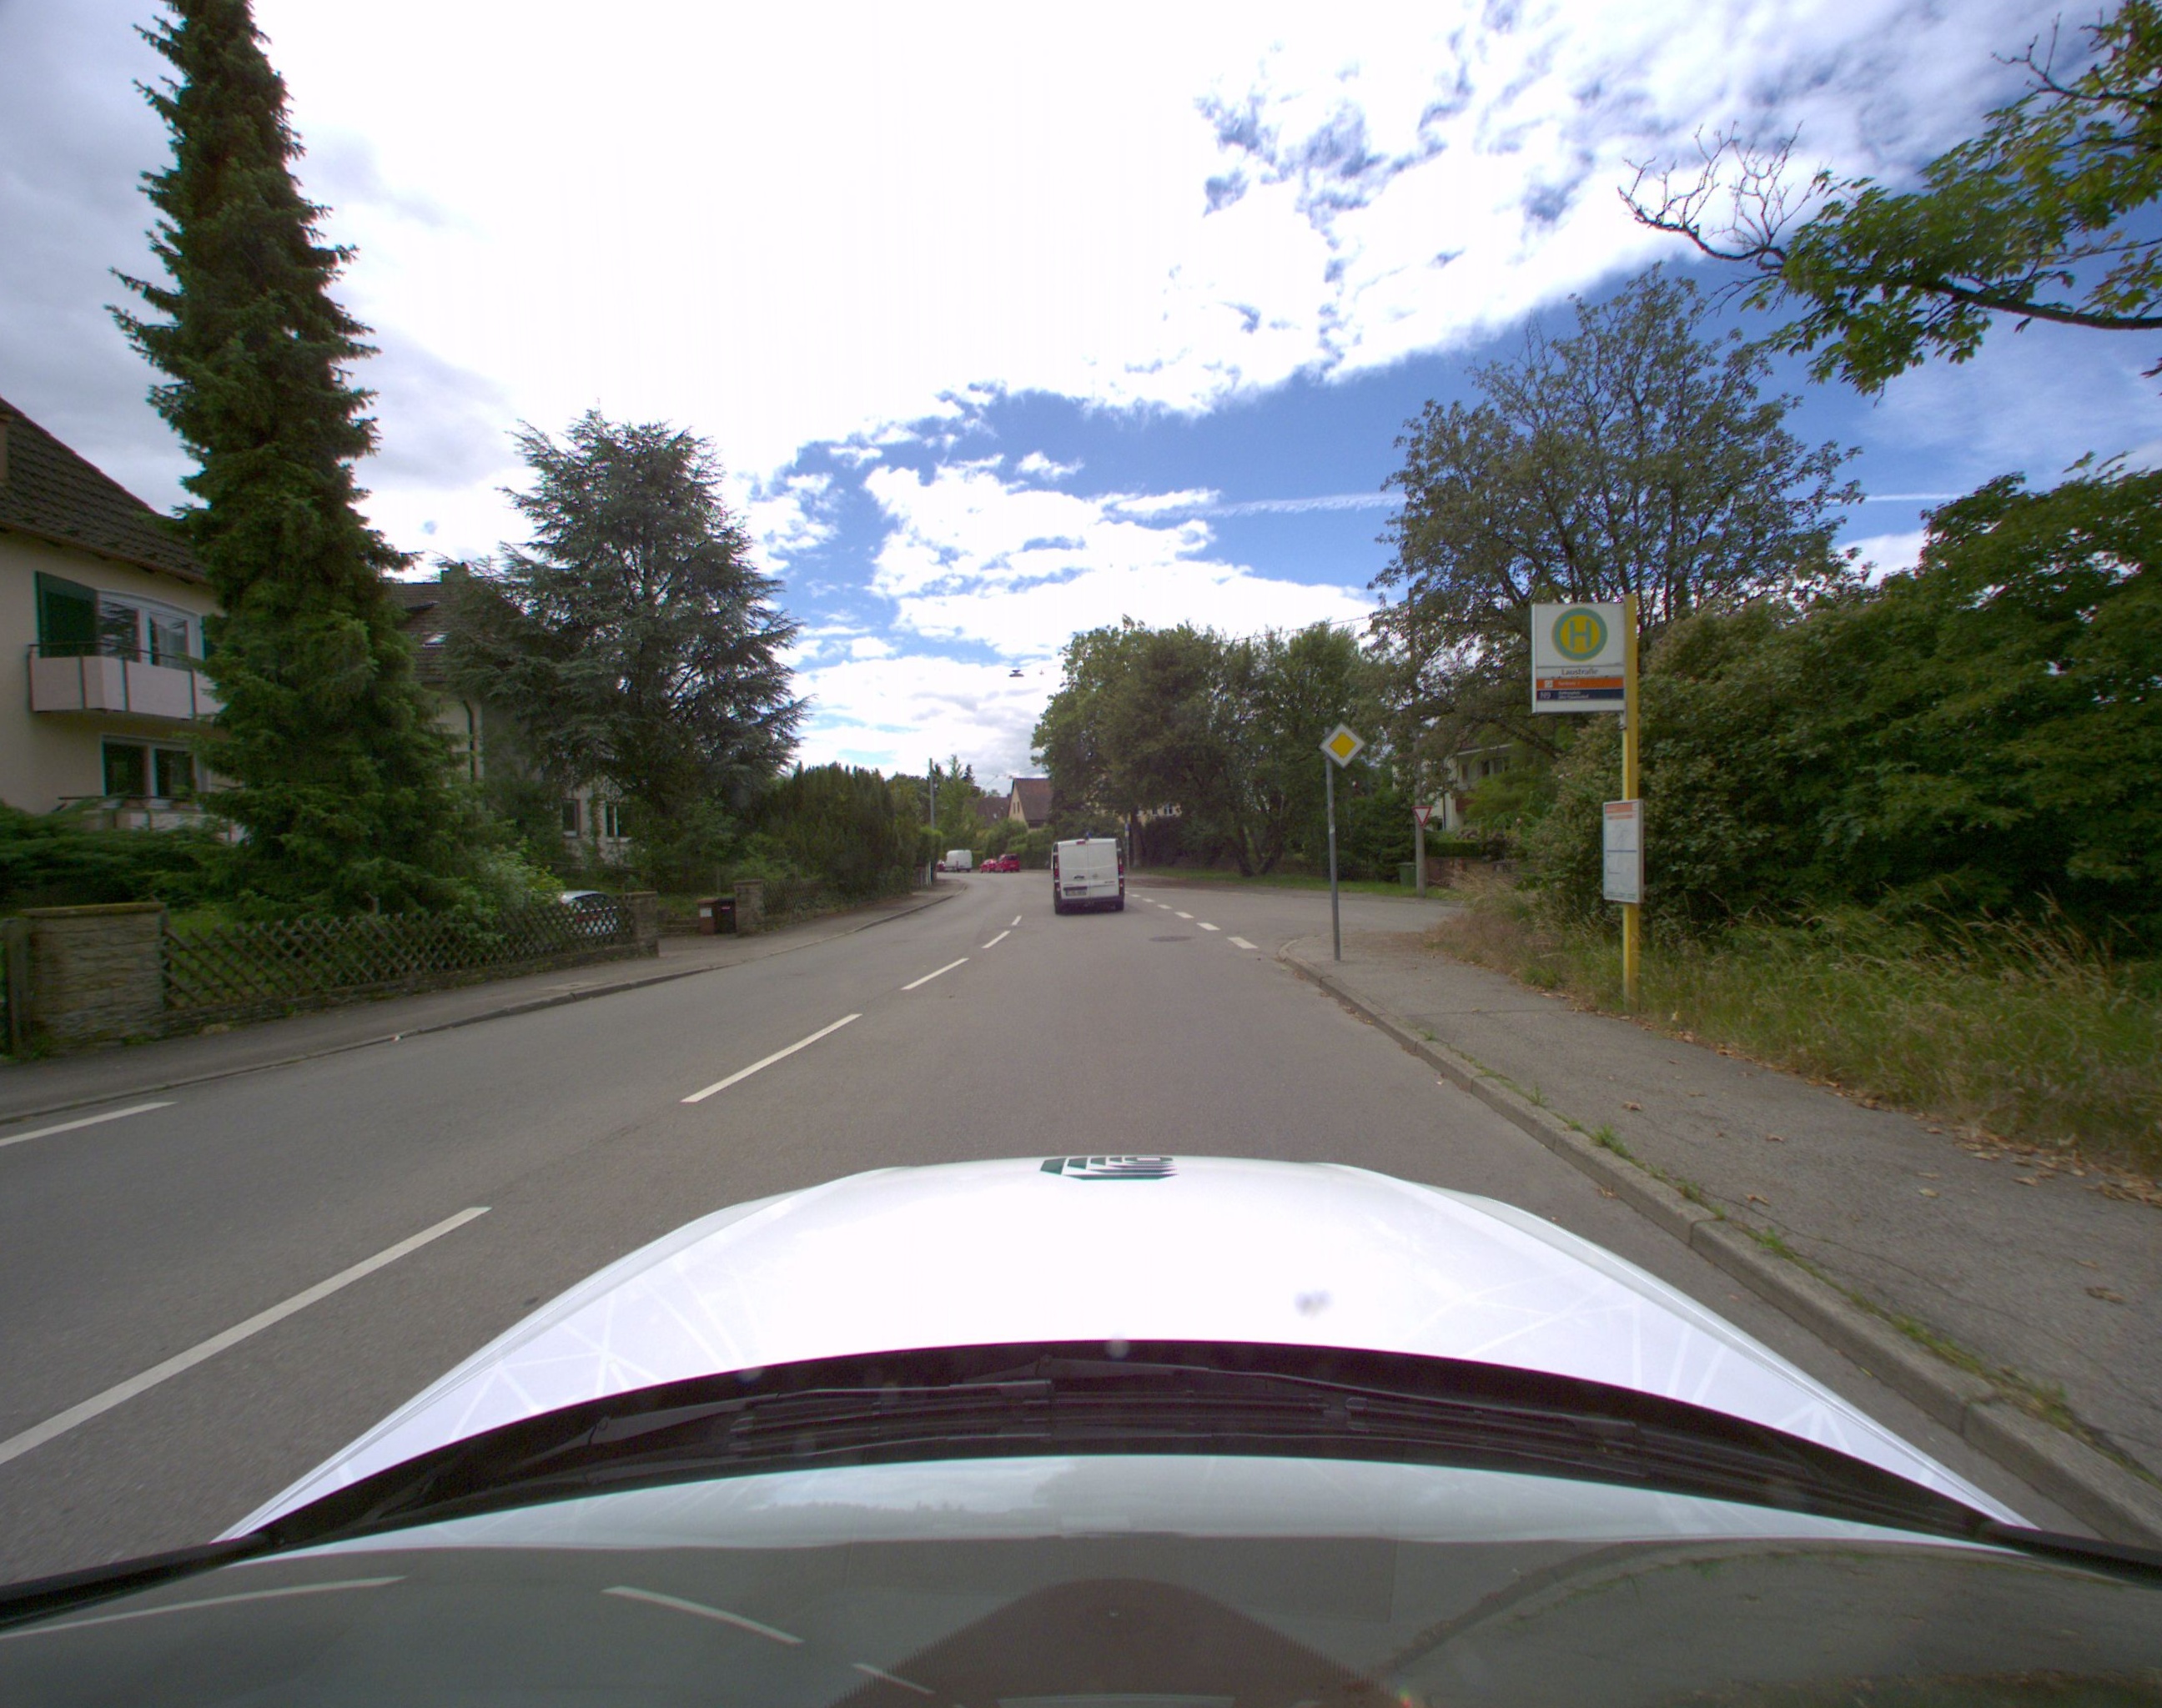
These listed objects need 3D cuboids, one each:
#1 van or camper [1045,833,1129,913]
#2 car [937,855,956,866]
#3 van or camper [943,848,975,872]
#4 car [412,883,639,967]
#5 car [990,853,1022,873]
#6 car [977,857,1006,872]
[{"bbox_3d":[0.052,0.420,23.130,1.921,2.013,4.821,-1,1,-5],"label":"van or camper"},{"bbox_3d":[-17.120,0.834,103.561,1.537,1.304,3.999,-2,0,-24],"label":"car"},{"bbox_3d":[-14.618,0.715,97.056,2.077,2.674,6.277,-2,0,-24],"label":"van or camper"},{"bbox_3d":[-12.670,1.590,18.734,3.859,1.420,1.925,-5,1,6],"label":"car"},{"bbox_3d":[-7.334,0.895,79.539,1.767,1.797,4.913,-2,0,-21],"label":"car"},{"bbox_3d":[-9.260,1.063,84.288,1.721,1.467,4.232,-2,0,-25],"label":"car"}]
